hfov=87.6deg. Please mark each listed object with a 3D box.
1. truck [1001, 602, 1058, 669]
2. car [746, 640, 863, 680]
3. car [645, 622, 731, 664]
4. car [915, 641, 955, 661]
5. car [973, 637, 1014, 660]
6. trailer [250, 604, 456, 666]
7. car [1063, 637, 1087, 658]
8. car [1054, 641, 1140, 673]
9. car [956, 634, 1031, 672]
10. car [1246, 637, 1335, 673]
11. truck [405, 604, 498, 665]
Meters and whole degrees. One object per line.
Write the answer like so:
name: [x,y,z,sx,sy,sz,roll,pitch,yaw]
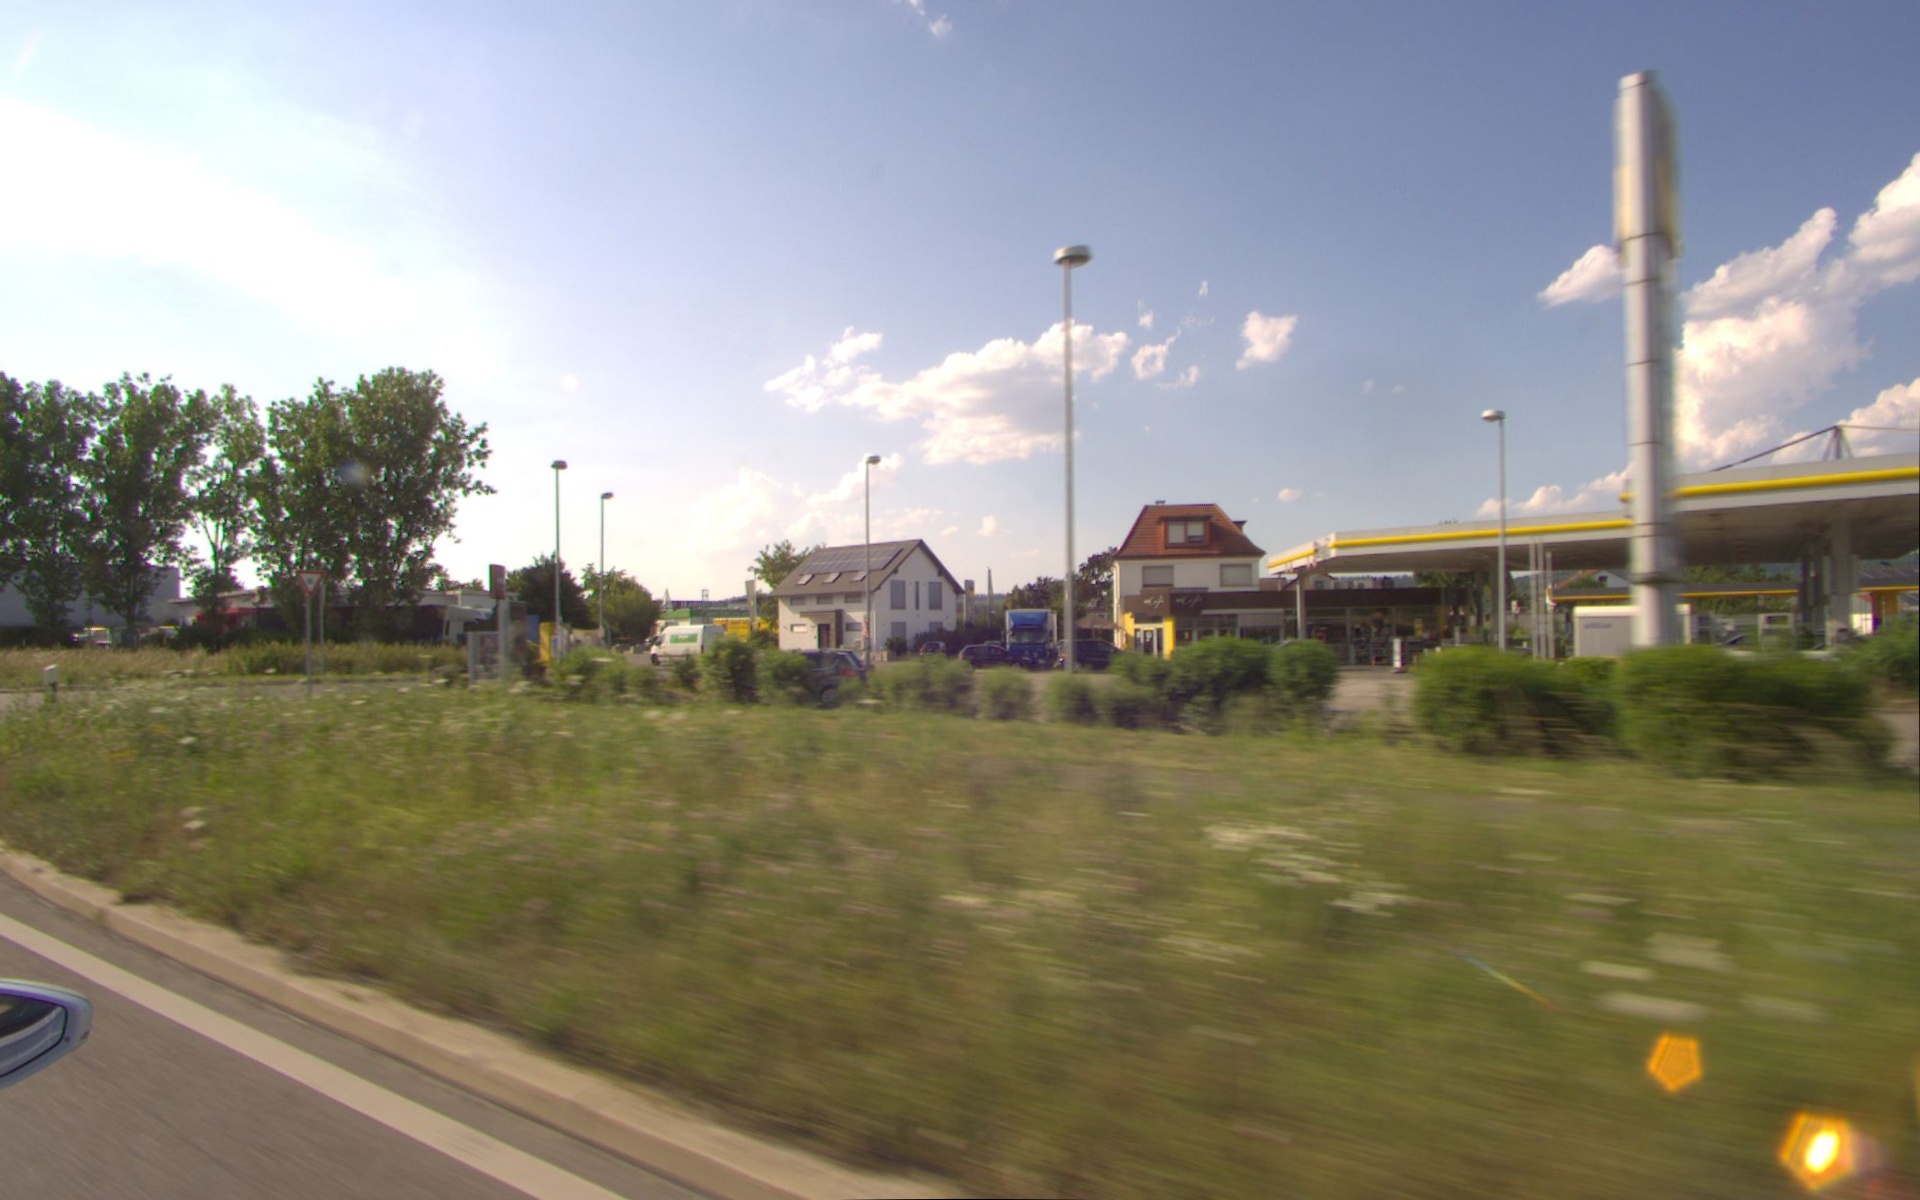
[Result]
truck: [4.239,2.234,59.598,2.714,3.733,8.016,0,-4,9]
car: [-5.340,2.062,34.690,3.840,1.218,1.600,0,2,-3]
car: [-18.065,2.907,66.237,6.747,2.548,2.219,-4,-5,42]
car: [-1.799,3.741,73.112,1.817,1.410,3.596,-1,-4,17]
car: [2.696,3.897,79.960,1.823,1.648,3.585,-2,-5,29]
trailer: [-41.137,2.443,67.922,13.458,3.962,2.252,-1,-3,8]
car: [9.362,3.906,81.252,1.562,1.594,3.555,-1,-4,13]
car: [7.305,3.045,53.535,4.335,1.654,1.852,0,-4,0]
car: [1.840,2.860,54.182,4.009,2.039,1.770,0,-2,4]
car: [16.355,2.711,49.687,3.821,1.740,1.757,0,-2,-5]
truck: [-33.976,2.353,67.062,5.019,3.962,2.253,0,-3,3]
